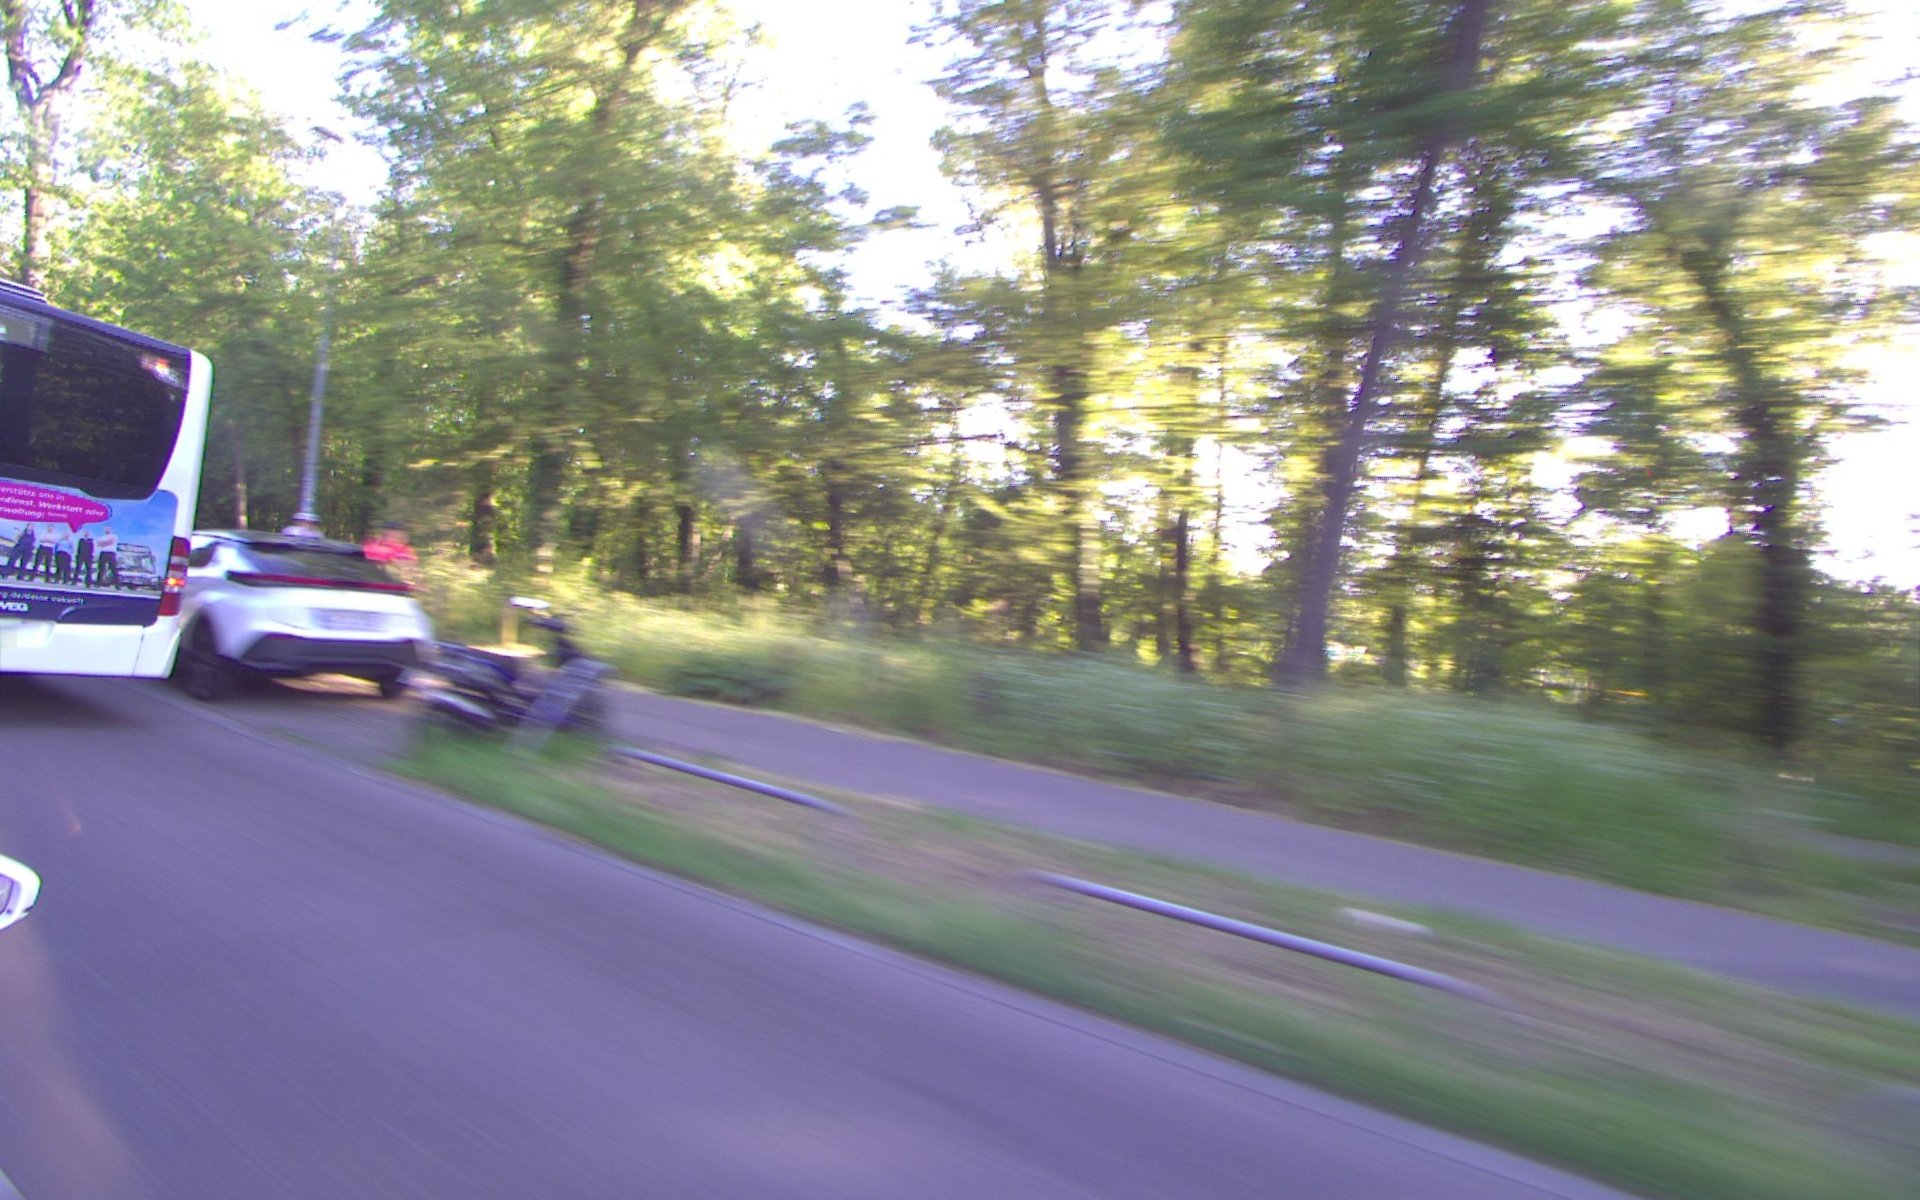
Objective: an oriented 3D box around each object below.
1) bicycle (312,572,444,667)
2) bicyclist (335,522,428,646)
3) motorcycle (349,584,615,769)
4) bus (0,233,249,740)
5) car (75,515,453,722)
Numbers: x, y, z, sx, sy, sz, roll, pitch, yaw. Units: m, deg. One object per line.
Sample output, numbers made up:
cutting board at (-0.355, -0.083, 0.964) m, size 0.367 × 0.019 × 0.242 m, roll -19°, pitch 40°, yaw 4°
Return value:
bicycle at (-7.912, 0.252, 13.637) m, size 1.932 × 1.070 × 0.703 m, roll 6°, pitch 1°, yaw 34°
bicyclist at (-7.844, -0.212, 13.633) m, size 0.862 × 1.582 × 0.701 m, roll 6°, pitch 2°, yaw 34°
motorcycle at (-3.797, 0.597, 8.138) m, size 0.758 × 1.269 × 1.736 m, roll 6°, pitch 0°, yaw 30°
bus at (-11.270, -1.243, 9.813) m, size 12.081 × 3.261 × 2.707 m, roll 6°, pitch -1°, yaw 34°
car at (-7.356, 0.084, 10.479) m, size 4.386 × 1.581 × 1.805 m, roll 6°, pitch 2°, yaw 35°
